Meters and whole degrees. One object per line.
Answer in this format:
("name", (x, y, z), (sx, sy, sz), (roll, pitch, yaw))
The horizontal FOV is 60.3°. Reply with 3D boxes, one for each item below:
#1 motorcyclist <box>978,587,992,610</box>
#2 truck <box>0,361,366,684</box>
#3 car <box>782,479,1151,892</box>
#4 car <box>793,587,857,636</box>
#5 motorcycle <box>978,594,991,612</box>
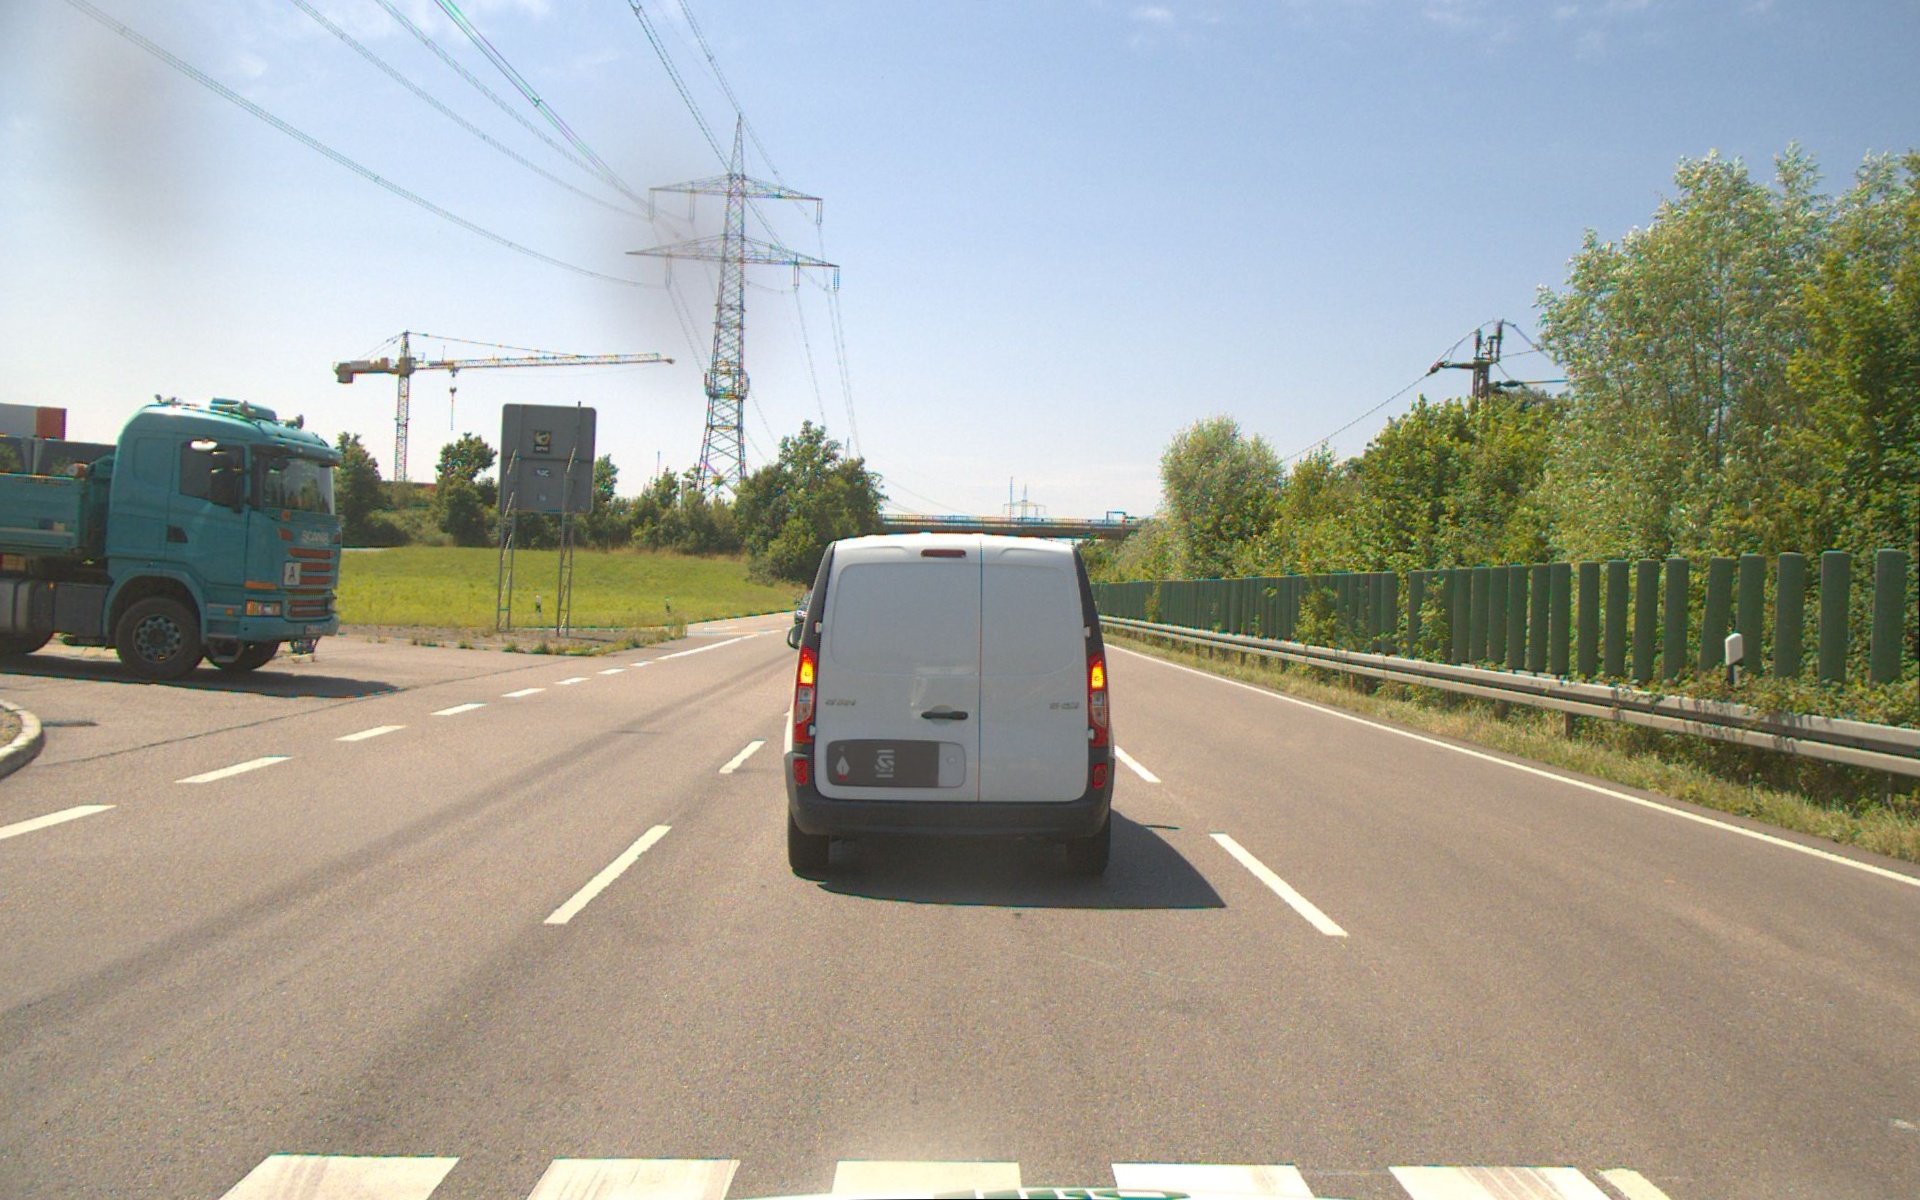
("motorcyclist", (1.683, -0.092, 112.833), (0.871, 1.502, 1.002), (1, 0, -1))
("truck", (-12.308, -1.110, 21.929), (7.742, 3.799, 2.498), (4, 0, 1))
("car", (-0.009, 0.410, 10.140), (1.790, 2.005, 3.999), (1, 0, -1))
("car", (-4.330, 0.351, 53.510), (1.746, 1.489, 3.999), (2, 0, -1))
("motorcycle", (1.678, 0.189, 112.752), (0.774, 1.178, 1.901), (2, 0, -2))
